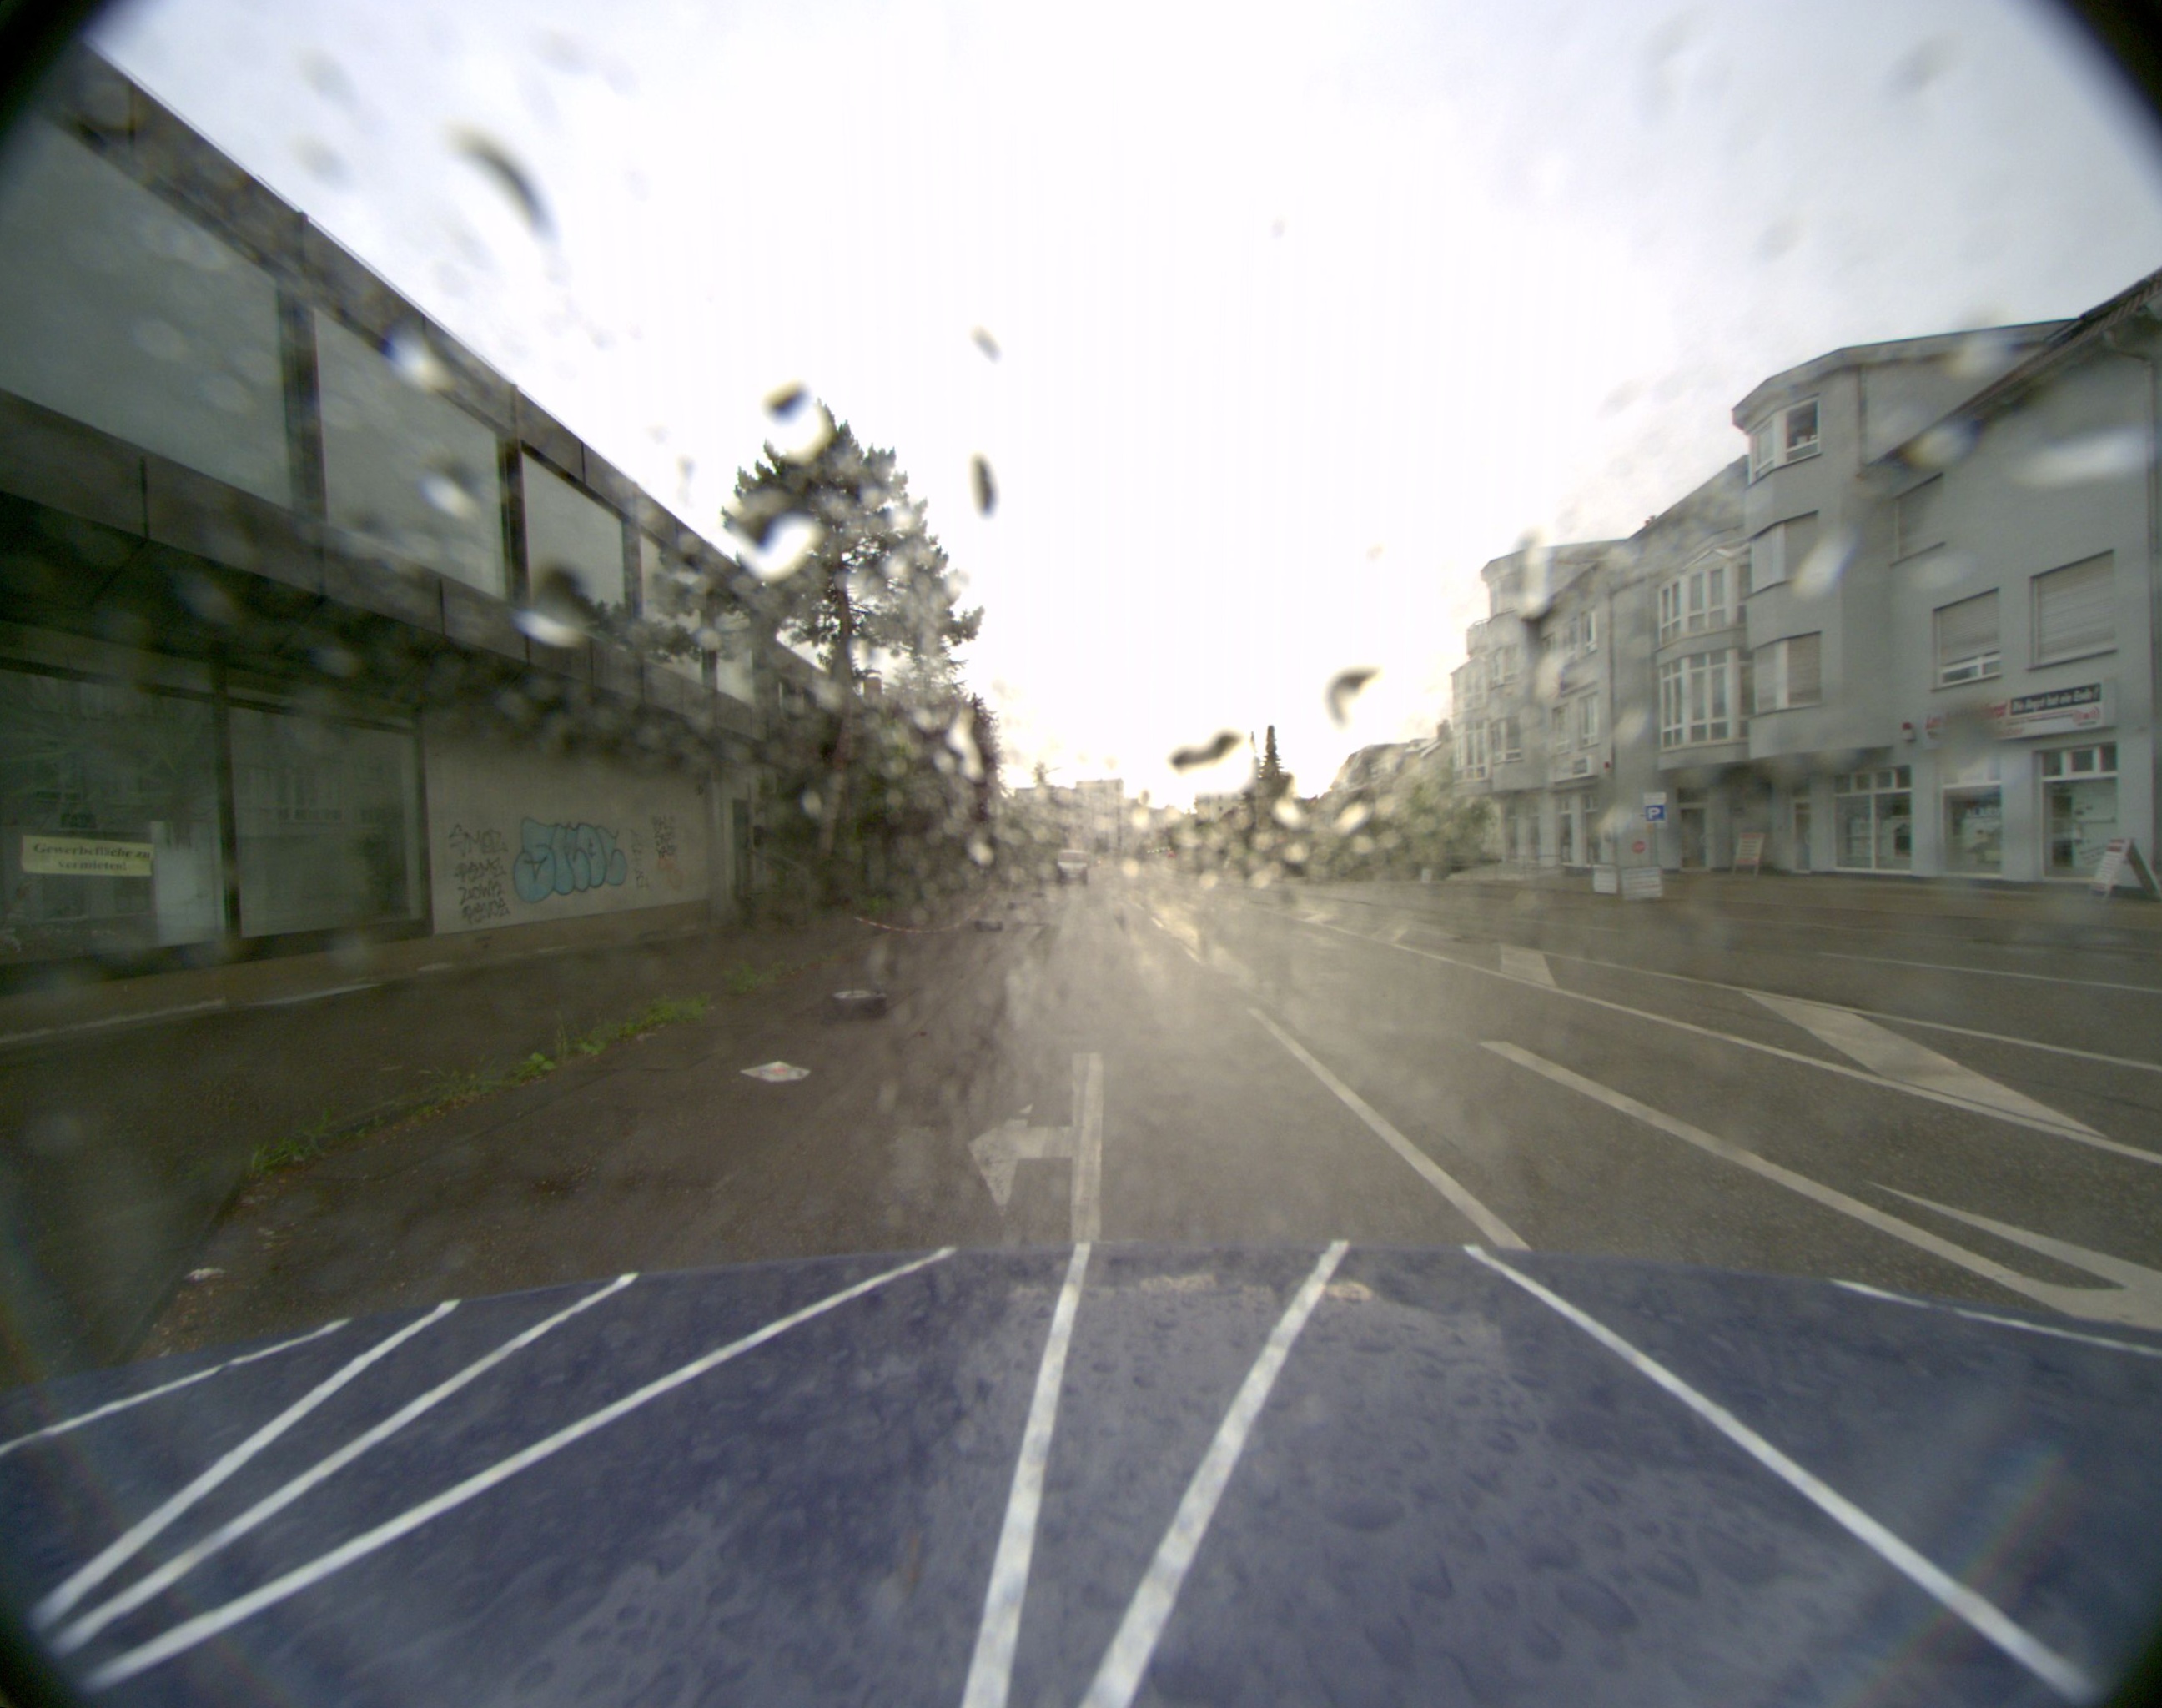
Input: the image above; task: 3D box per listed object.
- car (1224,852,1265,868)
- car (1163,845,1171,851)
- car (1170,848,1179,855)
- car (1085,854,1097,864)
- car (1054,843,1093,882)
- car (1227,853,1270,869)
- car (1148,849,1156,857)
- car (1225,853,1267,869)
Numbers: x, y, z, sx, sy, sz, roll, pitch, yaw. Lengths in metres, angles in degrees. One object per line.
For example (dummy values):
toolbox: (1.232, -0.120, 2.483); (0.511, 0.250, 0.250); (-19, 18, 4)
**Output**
car: (17.671, 0.616, 82.457); (4.114, 1.536, 2.001); (-3, 0, 6)
car: (24.149, -1.757, 214.094); (1.850, 1.753, 4.124); (-1, 0, 11)
car: (22.214, -0.690, 180.364); (1.997, 1.606, 4.003); (-1, 0, 11)
car: (1.753, 0.894, 133.794); (1.912, 1.622, 3.703); (-1, 0, 5)
car: (-0.442, 0.560, 51.278); (2.397, 2.417, 6.433); (-1, 0, 1)
car: (17.030, 0.673, 77.262); (4.034, 1.433, 1.813); (-3, 0, 6)
car: (17.178, -0.247, 183.813); (1.851, 1.870, 4.122); (-1, 0, 5)
car: (17.262, 0.688, 79.746); (4.155, 1.434, 1.891); (-3, 0, 8)
